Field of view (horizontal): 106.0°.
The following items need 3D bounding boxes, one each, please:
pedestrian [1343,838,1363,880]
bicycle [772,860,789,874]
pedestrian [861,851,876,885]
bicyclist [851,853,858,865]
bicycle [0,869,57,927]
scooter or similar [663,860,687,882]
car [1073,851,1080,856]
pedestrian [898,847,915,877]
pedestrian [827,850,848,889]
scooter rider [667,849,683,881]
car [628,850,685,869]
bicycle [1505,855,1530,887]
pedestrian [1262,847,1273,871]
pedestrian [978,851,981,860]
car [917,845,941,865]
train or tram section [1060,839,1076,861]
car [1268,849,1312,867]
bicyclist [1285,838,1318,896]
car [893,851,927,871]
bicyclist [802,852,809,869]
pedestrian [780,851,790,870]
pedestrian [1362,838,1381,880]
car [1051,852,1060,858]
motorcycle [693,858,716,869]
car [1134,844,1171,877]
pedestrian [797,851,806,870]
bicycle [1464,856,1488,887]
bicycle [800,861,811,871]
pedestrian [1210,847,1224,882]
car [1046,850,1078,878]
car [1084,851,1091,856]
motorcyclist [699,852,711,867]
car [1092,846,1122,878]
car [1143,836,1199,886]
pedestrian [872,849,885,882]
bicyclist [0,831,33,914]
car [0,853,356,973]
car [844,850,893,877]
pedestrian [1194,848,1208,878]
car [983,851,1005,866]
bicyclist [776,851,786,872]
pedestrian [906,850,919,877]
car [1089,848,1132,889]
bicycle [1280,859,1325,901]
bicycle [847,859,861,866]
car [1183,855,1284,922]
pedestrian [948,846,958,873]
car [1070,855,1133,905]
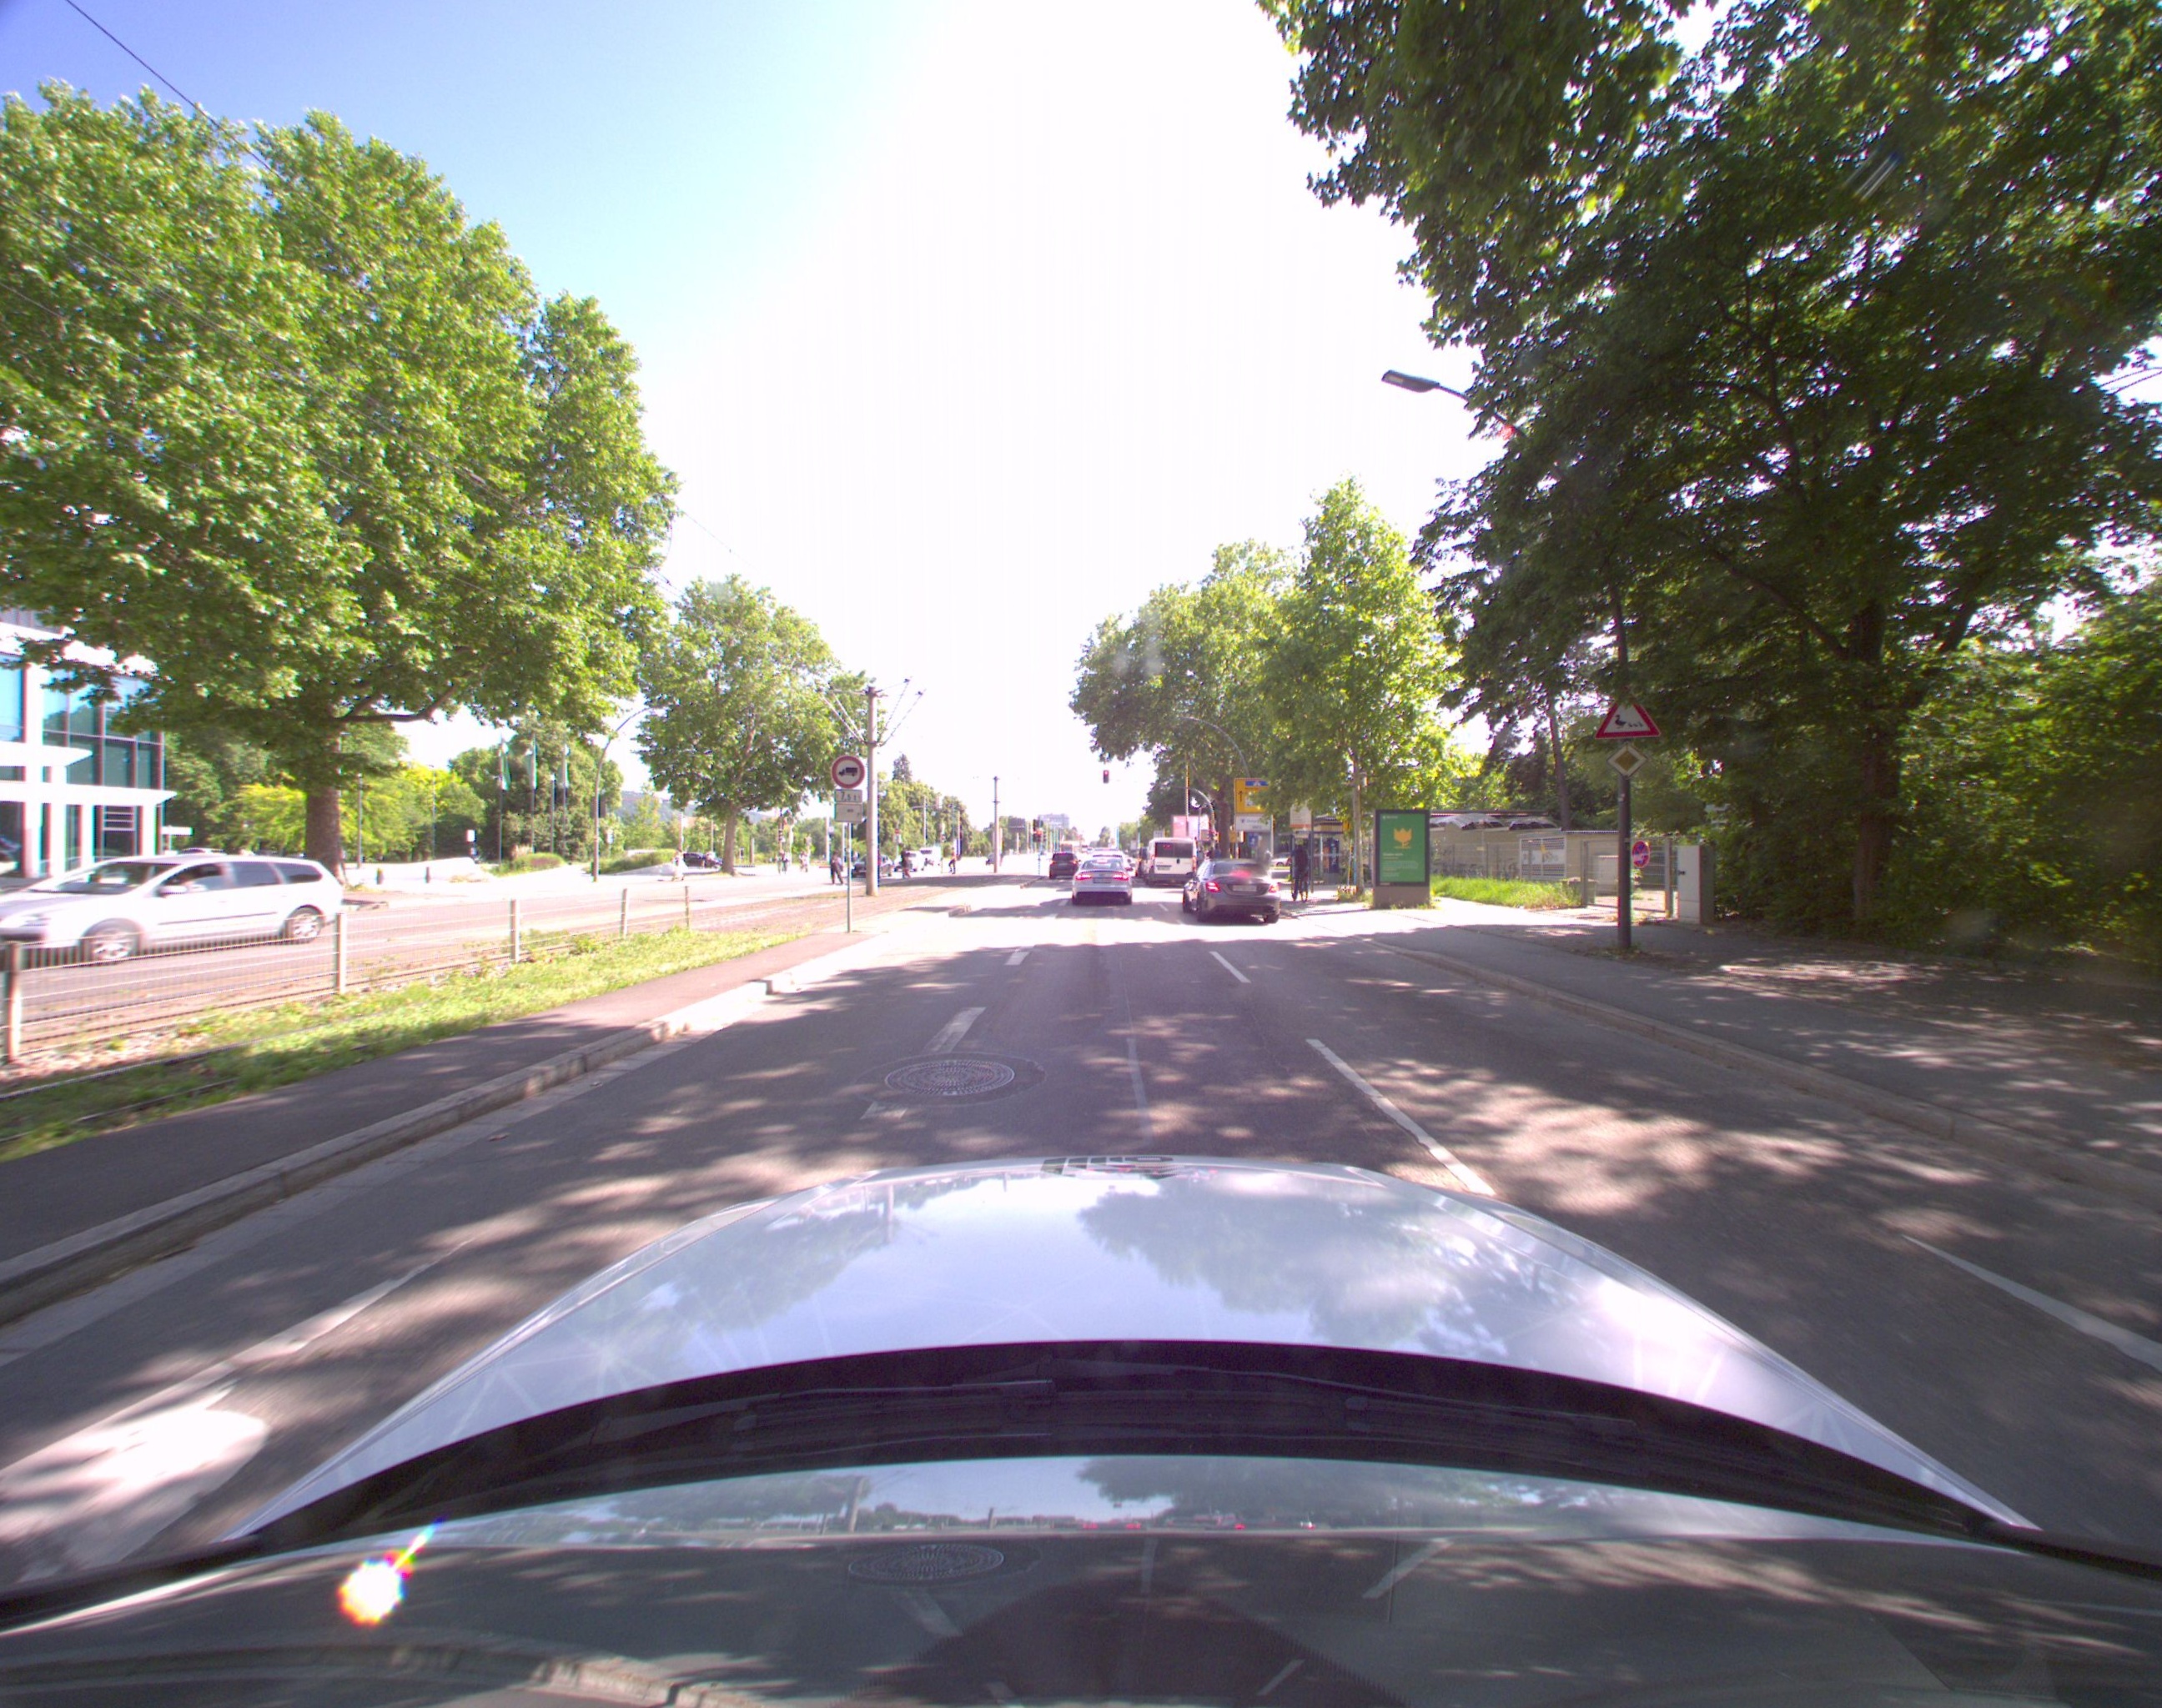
[{"bbox_3d":[12.241,0.226,36.662,0.611,1.896,0.694,0,0,-2],"label":"pedestrian"},{"bbox_3d":[-20.789,0.871,56.414,0.482,0.961,1.655,0,0,2],"label":"bicycle"},{"bbox_3d":[-10.599,0.694,40.570,0.590,1.646,0.554,0,0,2],"label":"pedestrian"},{"bbox_3d":[-25.931,0.589,93.265,0.469,1.292,0.500,0,0,30],"label":"bicyclist"},{"bbox_3d":[-21.157,0.848,15.599,0.664,1.094,1.885,0,0,2],"label":"bicycle"},{"bbox_3d":[-20.808,0.867,41.729,0.545,1.112,1.248,0,0,2],"label":"scooter or similar"},{"bbox_3d":[-1.291,-0.177,236.226,1.863,1.609,4.004,0,0,4],"label":"car"},{"bbox_3d":[-10.173,0.478,47.491,0.770,1.734,0.756,0,0,10],"label":"pedestrian"},{"bbox_3d":[-10.448,0.653,34.949,0.760,1.623,0.590,0,0,-24],"label":"pedestrian"},{"bbox_3d":[-20.807,0.545,41.715,0.504,1.631,0.566,0,0,2],"label":"scooter rider"},{"bbox_3d":[-35.801,0.487,68.751,3.833,1.549,1.770,0,0,1],"label":"car"},{"bbox_3d":[16.857,0.648,31.456,0.388,1.180,1.174,0,0,2],"label":"bicycle"},{"bbox_3d":[14.253,0.357,62.186,0.772,1.788,0.767,0,0,13],"label":"pedestrian"},{"bbox_3d":[-18.870,0.310,151.630,0.419,1.549,0.553,0,0,2],"label":"pedestrian"},{"bbox_3d":[-18.967,0.140,101.490,2.106,2.383,4.002,0,0,2],"label":"car"},{"bbox_3d":[-2.350,-0.730,149.019,2.606,4.015,7.753,0,0,2],"label":"train or tram section"},{"bbox_3d":[19.874,0.410,77.549,3.762,1.672,1.794,0,0,2],"label":"car"},{"bbox_3d":[6.471,0.364,23.952,0.632,1.648,0.979,-2,0,1],"label":"bicyclist"},{"bbox_3d":[-13.675,0.536,65.384,1.757,1.609,3.862,0,0,2],"label":"car"},{"bbox_3d":[-21.440,0.517,63.320,0.383,1.311,0.466,0,0,2],"label":"bicyclist"},{"bbox_3d":[-24.848,0.526,68.419,0.620,1.542,0.644,0,0,0],"label":"pedestrian"},{"bbox_3d":[13.079,0.223,36.662,0.611,1.896,0.597,0,0,-2],"label":"pedestrian"},{"bbox_3d":[-6.772,0.272,216.503,1.987,1.641,4.000,0,0,0],"label":"car"},{"bbox_3d":[-32.444,0.815,70.217,1.638,0.891,0.650,0,0,1],"label":"motorcycle"},{"bbox_3d":[4.439,0.405,51.234,2.064,1.999,4.060,0,0,2],"label":"car"},{"bbox_3d":[-23.373,0.519,68.107,0.624,1.542,0.778,0,0,-17],"label":"pedestrian"},{"bbox_3d":[15.093,0.657,31.101,0.388,1.180,1.174,0,0,2],"label":"bicycle"},{"bbox_3d":[-21.433,0.950,63.345,0.419,0.748,1.147,0,0,2],"label":"bicycle"},{"bbox_3d":[7.654,0.586,45.851,0.633,1.946,0.719,0,0,2],"label":"pedestrian"},{"bbox_3d":[-1.128,0.609,50.317,1.723,1.631,4.002,0,0,2],"label":"car"},{"bbox_3d":[1.876,-0.104,235.994,1.863,1.609,4.004,0,0,4],"label":"car"},{"bbox_3d":[-32.450,0.462,70.219,0.750,1.314,0.604,0,0,2],"label":"motorcyclist"},{"bbox_3d":[1.606,0.470,50.378,1.723,1.901,4.002,0,0,2],"label":"car"},{"bbox_3d":[4.120,0.311,37.917,2.221,2.212,4.163,0,0,2],"label":"car"},{"bbox_3d":[-10.341,0.597,41.620,0.490,1.679,0.644,0,0,2],"label":"pedestrian"},{"bbox_3d":[-21.161,0.351,15.781,0.572,1.604,0.839,0,0,2],"label":"bicyclist"},{"bbox_3d":[-14.009,0.739,12.443,1.790,1.488,4.387,0,0,2],"label":"car"},{"bbox_3d":[-13.180,0.596,50.842,1.864,1.609,4.002,0,0,2],"label":"car"},{"bbox_3d":[6.995,0.533,47.453,0.600,1.694,0.954,-2,0,2],"label":"pedestrian"},{"bbox_3d":[-10.380,0.550,97.227,1.986,1.734,4.002,0,0,2],"label":"car"},{"bbox_3d":[-20.774,0.526,56.371,0.478,1.416,0.592,0,0,1],"label":"bicyclist"},{"bbox_3d":[-9.973,0.546,48.232,0.532,1.598,0.580,0,0,20],"label":"pedestrian"},{"bbox_3d":[1.240,0.582,34.704,1.723,1.605,3.886,0,0,2],"label":"car"},{"bbox_3d":[6.502,0.742,24.019,0.712,1.148,2.178,-2,0,1],"label":"bicycle"},{"bbox_3d":[-25.984,0.992,93.183,0.486,0.731,1.631,0,0,30],"label":"bicycle"},{"bbox_3d":[3.496,0.740,19.377,1.776,1.420,4.002,0,0,2],"label":"car"},{"bbox_3d":[-9.037,0.392,57.510,0.621,1.918,0.690,0,0,2],"label":"pedestrian"},{"bbox_3d":[0.645,0.741,25.256,1.778,1.420,3.886,0,0,2],"label":"car"}]
